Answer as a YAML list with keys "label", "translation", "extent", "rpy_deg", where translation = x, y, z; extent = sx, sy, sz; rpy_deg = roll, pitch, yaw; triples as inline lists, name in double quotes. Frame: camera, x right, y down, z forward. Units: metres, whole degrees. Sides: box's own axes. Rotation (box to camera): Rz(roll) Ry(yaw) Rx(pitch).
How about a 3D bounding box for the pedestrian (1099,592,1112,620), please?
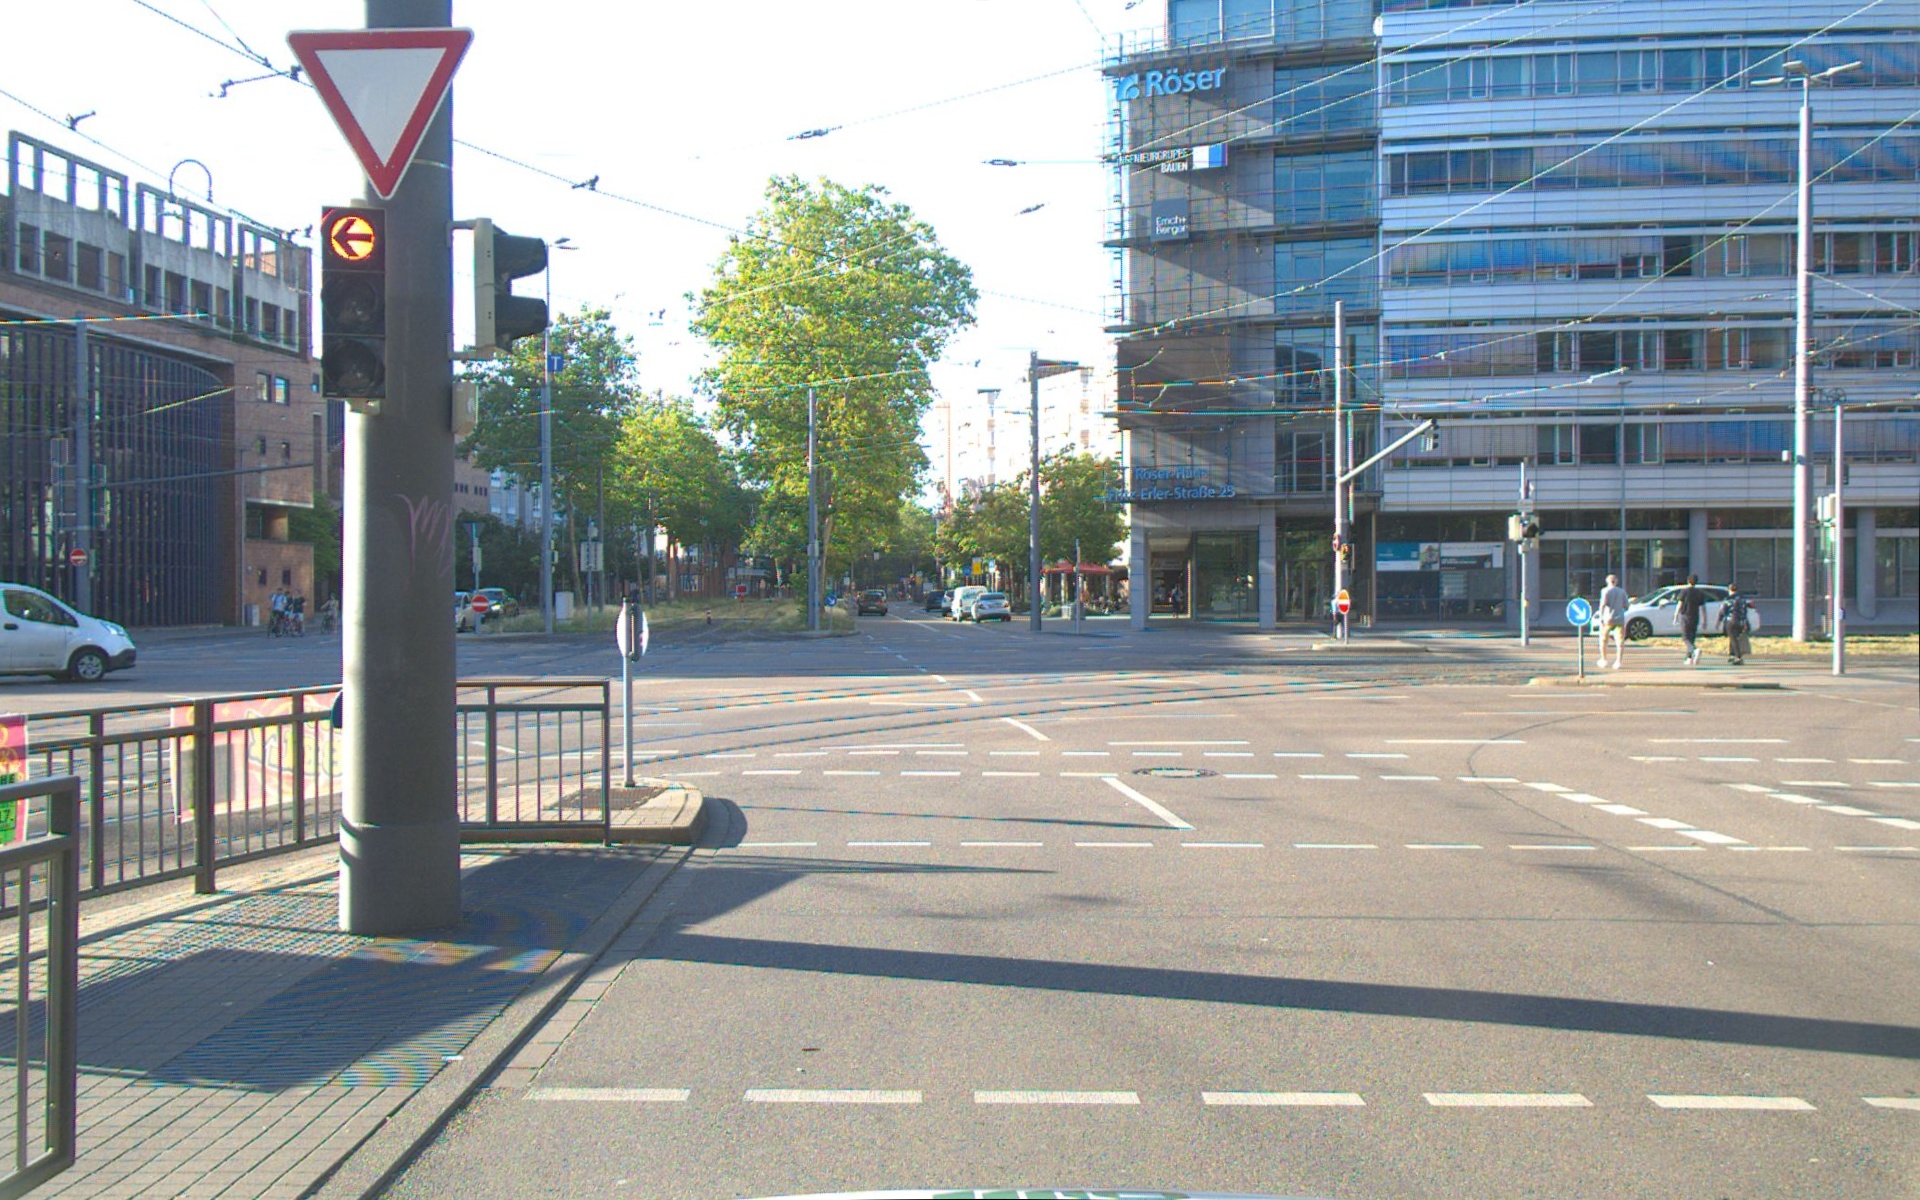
- label: "pedestrian"
  translation: [9.238, 0.390, 105.089]
  extent: [0.729, 1.744, 0.612]
  rpy_deg: [-1, 0, -1]

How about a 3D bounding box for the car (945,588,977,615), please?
- label: "car"
  translation: [0.038, 0.075, 105.210]
  extent: [1.953, 1.646, 3.999]
  rpy_deg: [-1, 0, -1]

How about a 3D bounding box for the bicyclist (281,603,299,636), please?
- label: "bicyclist"
  translation: [-27.601, 0.796, 68.174]
  extent: [0.495, 1.327, 0.581]
  rpy_deg: [-1, 0, -1]

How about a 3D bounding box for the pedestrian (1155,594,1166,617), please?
- label: "pedestrian"
  translation: [15.132, 0.425, 124.758]
  extent: [0.729, 1.744, 0.612]
  rpy_deg: [-1, 0, -1]

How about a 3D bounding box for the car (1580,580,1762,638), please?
- label: "car"
  translation: [19.337, 0.231, 45.124]
  extent: [4.205, 1.514, 1.762]
  rpy_deg: [-1, 0, 3]

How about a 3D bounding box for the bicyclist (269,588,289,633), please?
- label: "bicyclist"
  translation: [-26.819, 0.404, 65.150]
  extent: [0.525, 1.761, 0.581]
  rpy_deg: [-1, 0, -1]

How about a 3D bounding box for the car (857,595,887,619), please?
- label: "car"
  translation: [-5.639, 0.449, 106.621]
  extent: [1.761, 1.467, 3.999]
  rpy_deg: [-1, 0, -1]

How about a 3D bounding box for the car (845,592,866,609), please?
- label: "car"
  translation: [-9.276, 0.017, 146.839]
  extent: [1.762, 1.467, 3.998]
  rpy_deg: [1, 0, -3]

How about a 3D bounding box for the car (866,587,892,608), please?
- label: "car"
  translation: [-5.838, -0.198, 119.750]
  extent: [1.761, 1.467, 3.999]
  rpy_deg: [-1, 0, -1]

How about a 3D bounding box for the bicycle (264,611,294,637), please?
- label: "bicycle"
  translation: [-26.828, 0.945, 65.154]
  extent: [0.531, 0.980, 1.586]
  rpy_deg: [-1, 0, -1]

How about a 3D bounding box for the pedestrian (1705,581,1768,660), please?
- label: "pedestrian"
  translation: [15.990, 0.421, 34.082]
  extent: [0.928, 1.591, 0.897]
  rpy_deg: [-1, 0, 6]

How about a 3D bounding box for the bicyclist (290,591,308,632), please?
- label: "bicyclist"
  translation: [-26.103, 0.455, 65.318]
  extent: [0.449, 1.631, 0.581]
  rpy_deg: [-1, 0, -1]

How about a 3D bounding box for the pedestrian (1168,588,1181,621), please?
- label: "pedestrian"
  translation: [10.046, 0.209, 77.553]
  extent: [0.599, 1.534, 0.579]
  rpy_deg: [-1, 0, 7]

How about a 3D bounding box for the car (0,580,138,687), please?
- label: "car"
  translation: [-17.614, 0.599, 30.062]
  extent: [4.489, 1.899, 1.734]
  rpy_deg: [-1, 0, -43]

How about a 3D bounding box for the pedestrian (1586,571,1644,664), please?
- label: "pedestrian"
  translation: [13.008, 0.349, 32.873]
  extent: [0.845, 1.820, 0.872]
  rpy_deg: [-1, 0, 6]

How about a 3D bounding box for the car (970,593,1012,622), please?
- label: "car"
  translation: [1.537, 0.340, 82.788]
  extent: [1.953, 1.400, 3.999]
  rpy_deg: [-1, 0, -1]

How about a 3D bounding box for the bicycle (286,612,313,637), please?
- label: "bicycle"
  translation: [-26.129, 0.959, 65.425]
  extent: [0.463, 0.980, 1.575]
  rpy_deg: [-1, 0, -1]

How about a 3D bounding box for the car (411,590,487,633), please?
- label: "car"
  translation: [-20.667, 0.446, 67.036]
  extent: [1.953, 1.668, 3.999]
  rpy_deg: [-1, 0, -2]

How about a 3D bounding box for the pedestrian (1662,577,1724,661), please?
- label: "pedestrian"
  translation: [15.204, 0.387, 34.343]
  extent: [0.893, 1.714, 1.036]
  rpy_deg: [-1, 0, 6]

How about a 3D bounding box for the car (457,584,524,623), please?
- label: "car"
  translation: [-21.120, 0.147, 74.595]
  extent: [1.953, 1.668, 3.999]
  rpy_deg: [-1, 0, -2]

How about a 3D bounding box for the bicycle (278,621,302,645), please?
- label: "bicycle"
  translation: [-27.597, 1.351, 68.107]
  extent: [0.458, 0.980, 1.320]
  rpy_deg: [-1, 0, -1]

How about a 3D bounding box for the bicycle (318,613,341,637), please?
- label: "bicycle"
  translation: [-27.119, 1.071, 71.158]
  extent: [0.442, 0.980, 1.347]
  rpy_deg: [-1, 0, -1]

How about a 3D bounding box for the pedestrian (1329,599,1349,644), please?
- label: "pedestrian"
  translation: [13.011, 0.726, 56.760]
  extent: [0.599, 1.534, 0.579]
  rpy_deg: [-1, 0, 7]

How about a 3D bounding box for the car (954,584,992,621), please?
- label: "car"
  translation: [0.689, 0.120, 89.574]
  extent: [1.953, 1.892, 3.999]
  rpy_deg: [-1, 0, -1]

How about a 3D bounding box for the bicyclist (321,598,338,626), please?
- label: "bicyclist"
  translation: [-27.097, 0.497, 71.127]
  extent: [0.495, 1.199, 0.581]
  rpy_deg: [-1, 0, -1]

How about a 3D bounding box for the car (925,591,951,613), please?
- label: "car"
  translation: [-1.677, 0.136, 126.634]
  extent: [1.953, 1.646, 3.999]
  rpy_deg: [-1, 0, -1]
